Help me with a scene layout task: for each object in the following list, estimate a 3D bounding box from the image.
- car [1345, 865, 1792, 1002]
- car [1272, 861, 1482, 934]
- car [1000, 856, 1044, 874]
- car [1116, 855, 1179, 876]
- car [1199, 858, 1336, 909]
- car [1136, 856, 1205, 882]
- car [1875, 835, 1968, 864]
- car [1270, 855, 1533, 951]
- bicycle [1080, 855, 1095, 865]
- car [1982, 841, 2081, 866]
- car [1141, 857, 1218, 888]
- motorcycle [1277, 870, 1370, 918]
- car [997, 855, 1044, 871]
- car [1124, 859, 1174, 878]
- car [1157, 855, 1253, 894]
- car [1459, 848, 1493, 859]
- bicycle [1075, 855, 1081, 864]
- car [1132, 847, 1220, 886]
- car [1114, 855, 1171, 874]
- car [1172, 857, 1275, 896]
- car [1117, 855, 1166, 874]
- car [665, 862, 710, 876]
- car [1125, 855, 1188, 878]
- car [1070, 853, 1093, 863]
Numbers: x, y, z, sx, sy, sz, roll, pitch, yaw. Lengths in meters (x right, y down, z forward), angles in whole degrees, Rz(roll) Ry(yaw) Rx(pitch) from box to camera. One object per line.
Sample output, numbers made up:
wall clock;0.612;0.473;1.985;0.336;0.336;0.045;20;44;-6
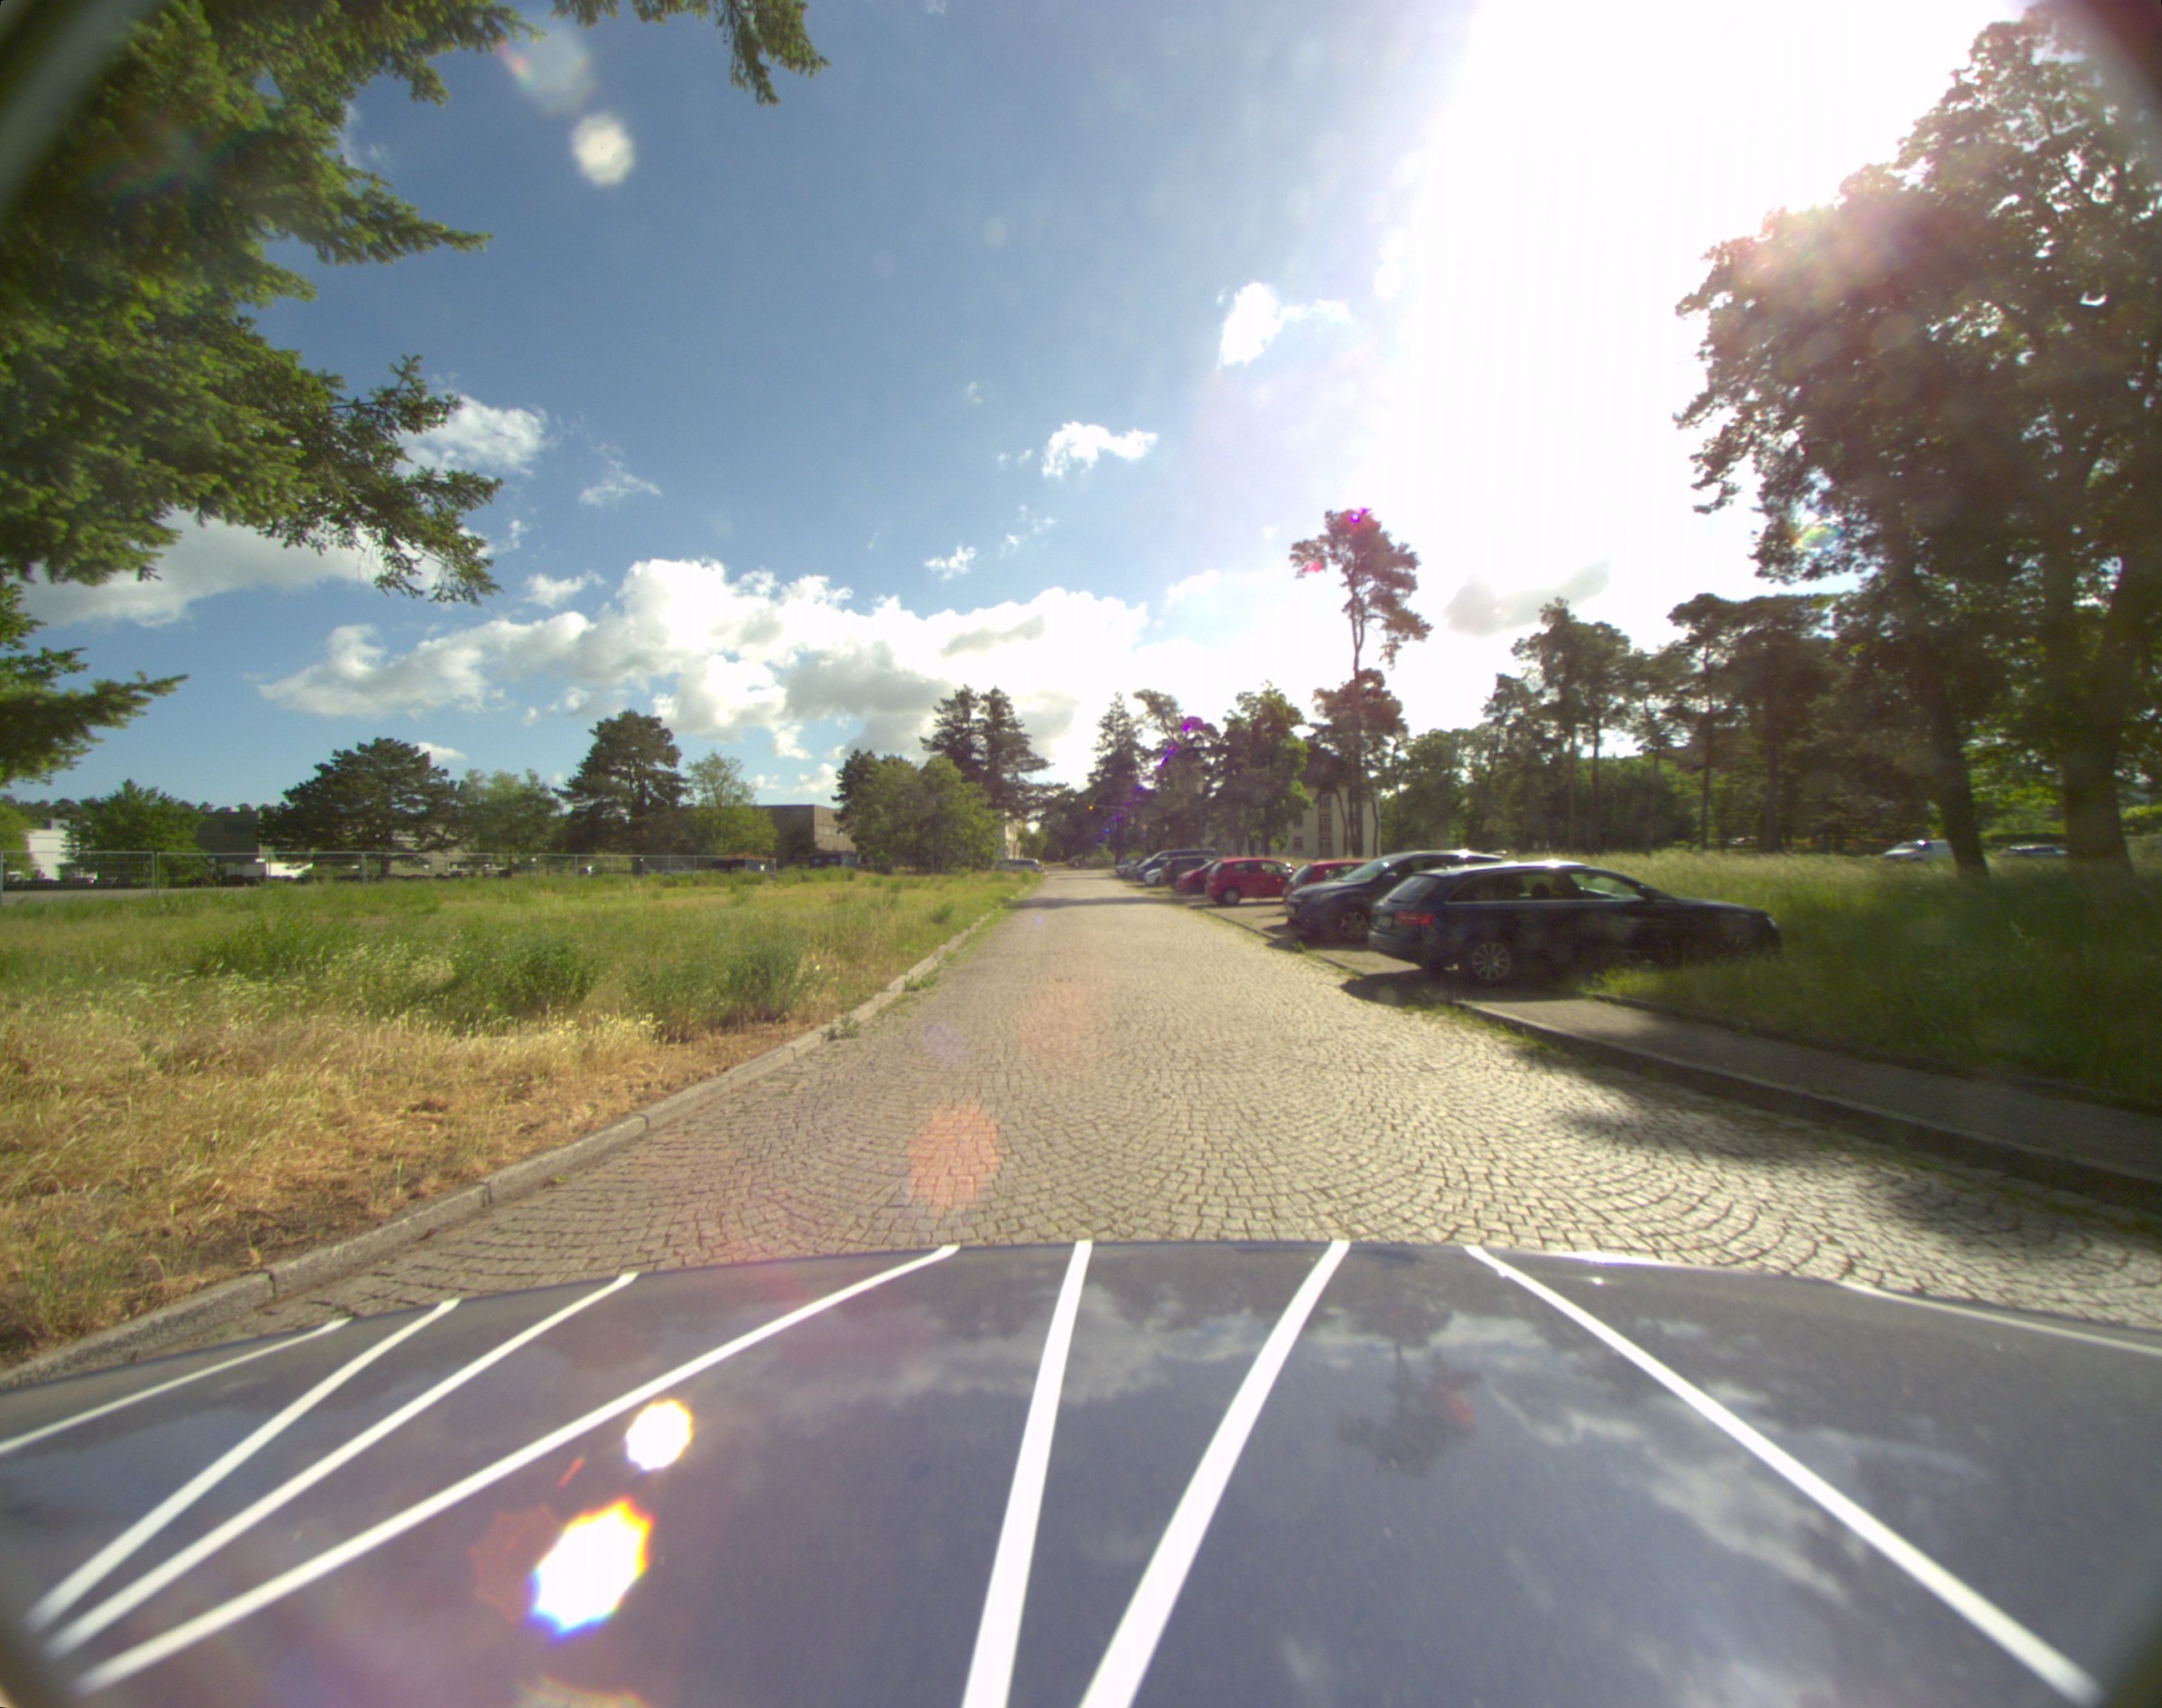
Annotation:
car;5.877;0.927;9.625;4.370;1.436;1.921;-2;0;2
car;6.449;0.923;16.888;3.933;1.424;1.842;-2;0;0
car;-5.141;0.948;66.561;3.751;1.468;1.751;2;0;-3
car;5.417;0.925;62.302;4.877;1.413;1.938;-2;1;-1
car;5.979;0.930;24.657;3.934;1.452;1.842;-2;0;-2
car;5.747;0.950;49.213;4.207;1.466;1.823;-2;0;-1
car;63.732;-0.354;57.663;4.858;2.151;1.957;-1;1;0
car;5.898;0.863;14.373;4.146;1.570;1.884;-2;0;-1
bicycle;0.995;0.877;116.349;2.114;1.276;0.621;-6;1;-4
car;63.946;-0.049;51.161;4.239;1.596;1.912;-1;1;0
car;5.306;0.988;41.309;3.826;1.432;1.682;-3;1;-4
motorcycle;6.396;1.050;20.110;2.248;1.155;0.577;-2;1;0
car;-5.872;0.895;74.524;4.526;1.456;1.838;1;1;-4
car;5.111;1.075;57.644;3.639;1.227;1.759;-2;1;0
car;5.656;0.923;34.978;3.964;1.558;1.973;-3;0;-2
car;57.598;-0.109;110.732;4.105;1.571;1.720;-1;1;1
bicycle;-0.386;0.860;112.979;0.621;1.342;2.114;-3;0;-5
car;5.432;0.695;43.872;4.730;1.956;2.005;-3;1;-1
car;5.234;0.896;65.017;4.594;1.443;1.983;-2;1;-4
car;5.993;0.937;32.252;3.934;1.440;1.866;-3;0;-2
car;5.356;0.943;67.638;4.037;1.474;1.948;-2;0;-3
car;-43.362;1.669;83.811;3.997;1.413;1.745;-1;-1;-1
car;5.156;0.840;52.085;4.087;1.417;1.923;-2;0;0
car;0.148;0.807;148.543;4.227;1.903;1.816;-1;1;-11
